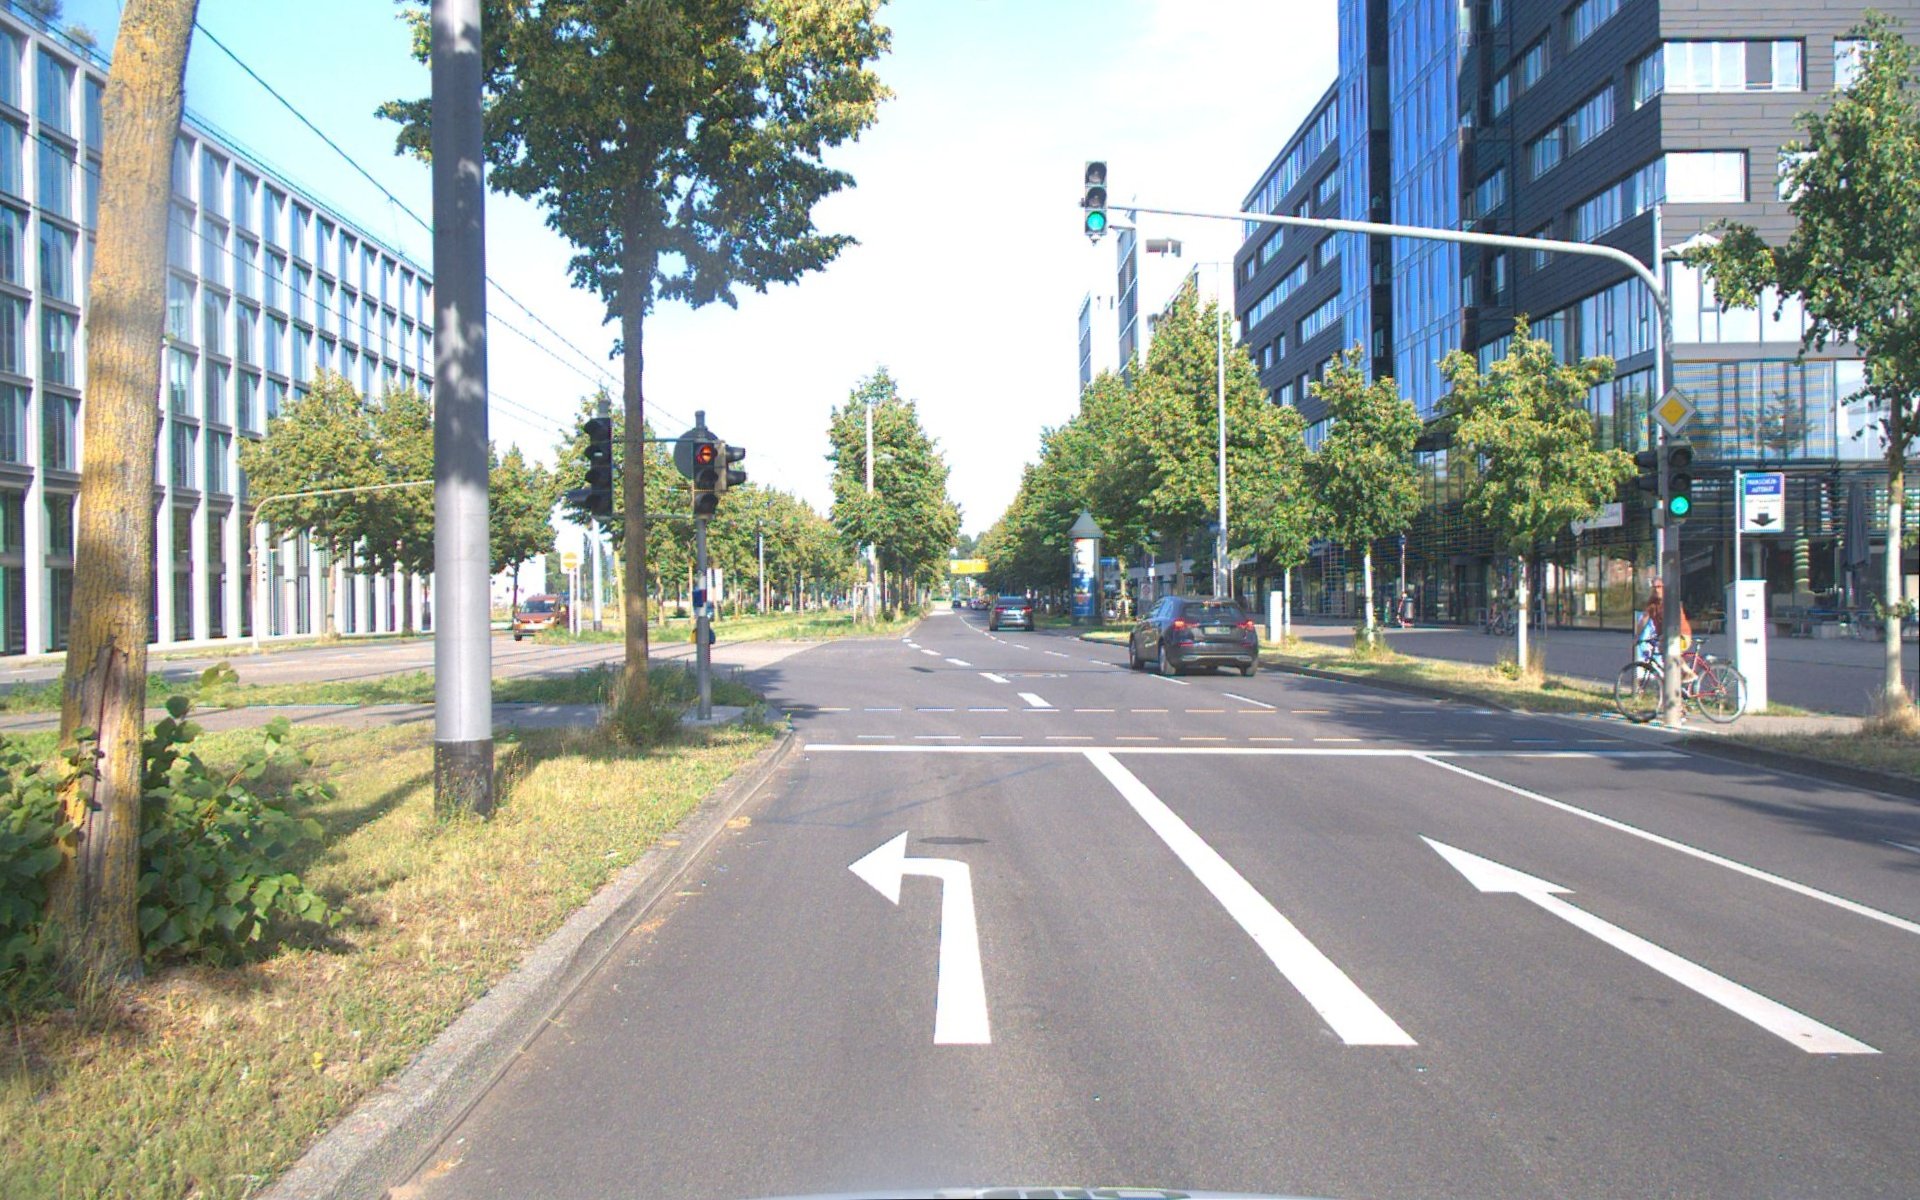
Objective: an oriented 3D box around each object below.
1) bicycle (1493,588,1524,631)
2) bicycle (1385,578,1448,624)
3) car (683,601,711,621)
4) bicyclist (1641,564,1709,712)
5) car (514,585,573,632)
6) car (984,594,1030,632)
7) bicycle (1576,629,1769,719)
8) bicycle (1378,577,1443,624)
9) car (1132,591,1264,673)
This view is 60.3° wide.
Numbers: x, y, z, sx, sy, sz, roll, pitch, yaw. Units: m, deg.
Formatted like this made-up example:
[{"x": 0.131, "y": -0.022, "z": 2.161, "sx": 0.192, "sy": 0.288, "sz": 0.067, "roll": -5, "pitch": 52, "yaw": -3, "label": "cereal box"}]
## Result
[{"x": 17.658, "y": 0.313, "z": 53.267, "sx": 0.365, "sy": 1.370, "sz": 1.894, "roll": 1, "pitch": -1, "yaw": 0, "label": "bicycle"}, {"x": 18.294, "y": 0.038, "z": 66.355, "sx": 2.383, "sy": 1.776, "sz": 0.554, "roll": 1, "pitch": -1, "yaw": 9, "label": "bicycle"}, {"x": -19.232, "y": 0.811, "z": 121.071, "sx": 1.606, "sy": 1.468, "sz": 3.953, "roll": 1, "pitch": 0, "yaw": -4, "label": "car"}, {"x": 8.537, "y": 0.453, "z": 19.760, "sx": 0.563, "sy": 1.737, "sz": 0.540, "roll": 1, "pitch": -1, "yaw": -3, "label": "bicyclist"}, {"x": -16.885, "y": 0.342, "z": 67.257, "sx": 1.651, "sy": 1.806, "sz": 3.879, "roll": 1, "pitch": 0, "yaw": -4, "label": "car"}, {"x": 2.009, "y": 0.566, "z": 70.951, "sx": 1.822, "sy": 1.551, "sz": 3.785, "roll": 1, "pitch": 0, "yaw": -1, "label": "car"}, {"x": 8.493, "y": 0.874, "z": 19.747, "sx": 2.092, "sy": 1.030, "sz": 0.571, "roll": 1, "pitch": -1, "yaw": -5, "label": "bicycle"}, {"x": 18.388, "y": 0.027, "z": 67.503, "sx": 2.510, "sy": 1.890, "sz": 0.570, "roll": 1, "pitch": -1, "yaw": 9, "label": "bicycle"}, {"x": 4.446, "y": 0.579, "z": 31.439, "sx": 1.739, "sy": 1.449, "sz": 3.958, "roll": 1, "pitch": 0, "yaw": -3, "label": "car"}]
